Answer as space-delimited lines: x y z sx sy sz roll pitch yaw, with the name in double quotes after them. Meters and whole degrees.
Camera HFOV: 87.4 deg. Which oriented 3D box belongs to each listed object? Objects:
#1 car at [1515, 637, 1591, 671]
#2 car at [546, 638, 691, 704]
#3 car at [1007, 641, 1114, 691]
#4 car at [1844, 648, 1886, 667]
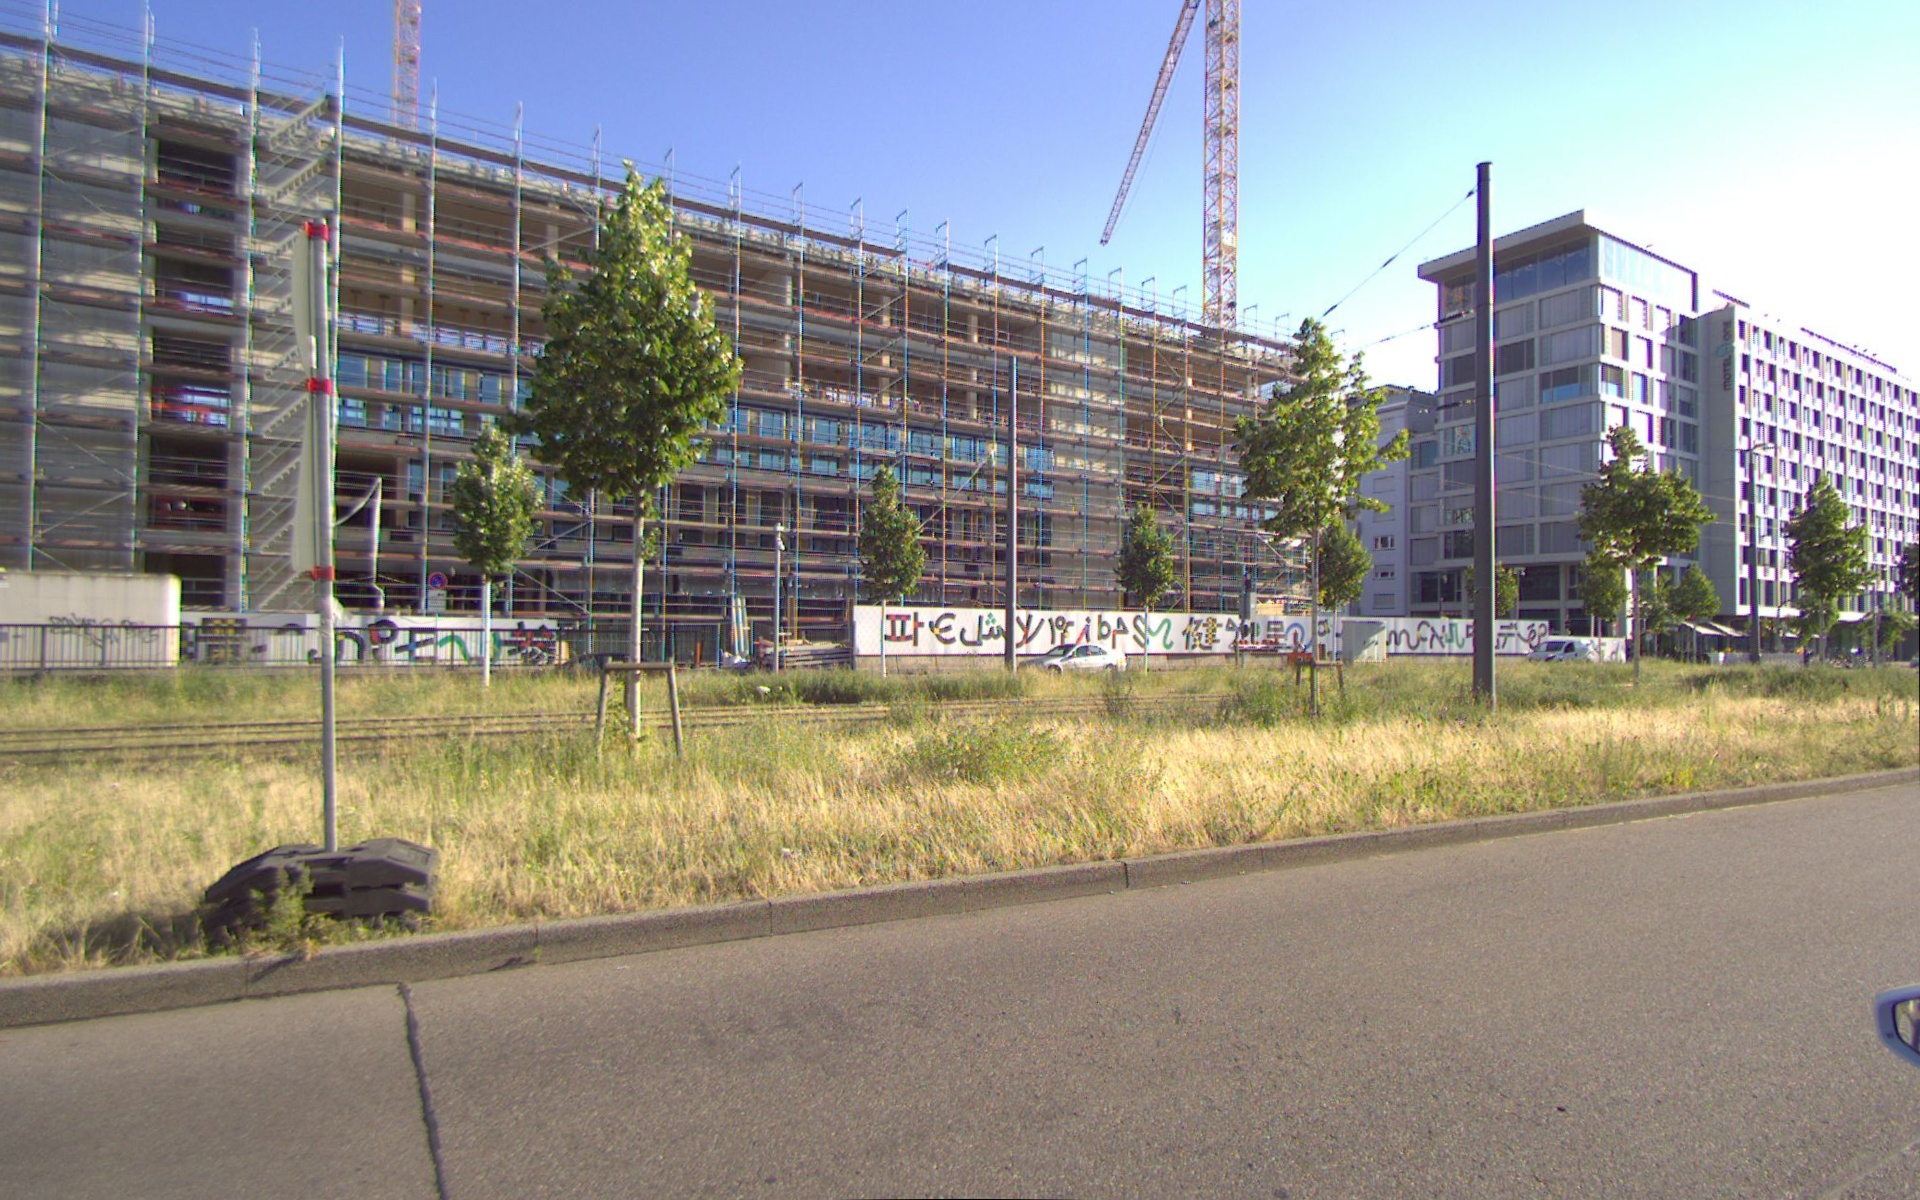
31.504 2.874 53.363 3.591 1.706 1.784 2 -1 -27 "car"
-9.660 1.967 28.430 3.596 1.706 1.781 2 -1 -30 "car"
3.760 2.423 37.344 3.596 1.706 1.781 2 -1 -30 "car"
76.381 4.852 84.794 3.542 1.461 1.699 2 -1 -32 "car"
